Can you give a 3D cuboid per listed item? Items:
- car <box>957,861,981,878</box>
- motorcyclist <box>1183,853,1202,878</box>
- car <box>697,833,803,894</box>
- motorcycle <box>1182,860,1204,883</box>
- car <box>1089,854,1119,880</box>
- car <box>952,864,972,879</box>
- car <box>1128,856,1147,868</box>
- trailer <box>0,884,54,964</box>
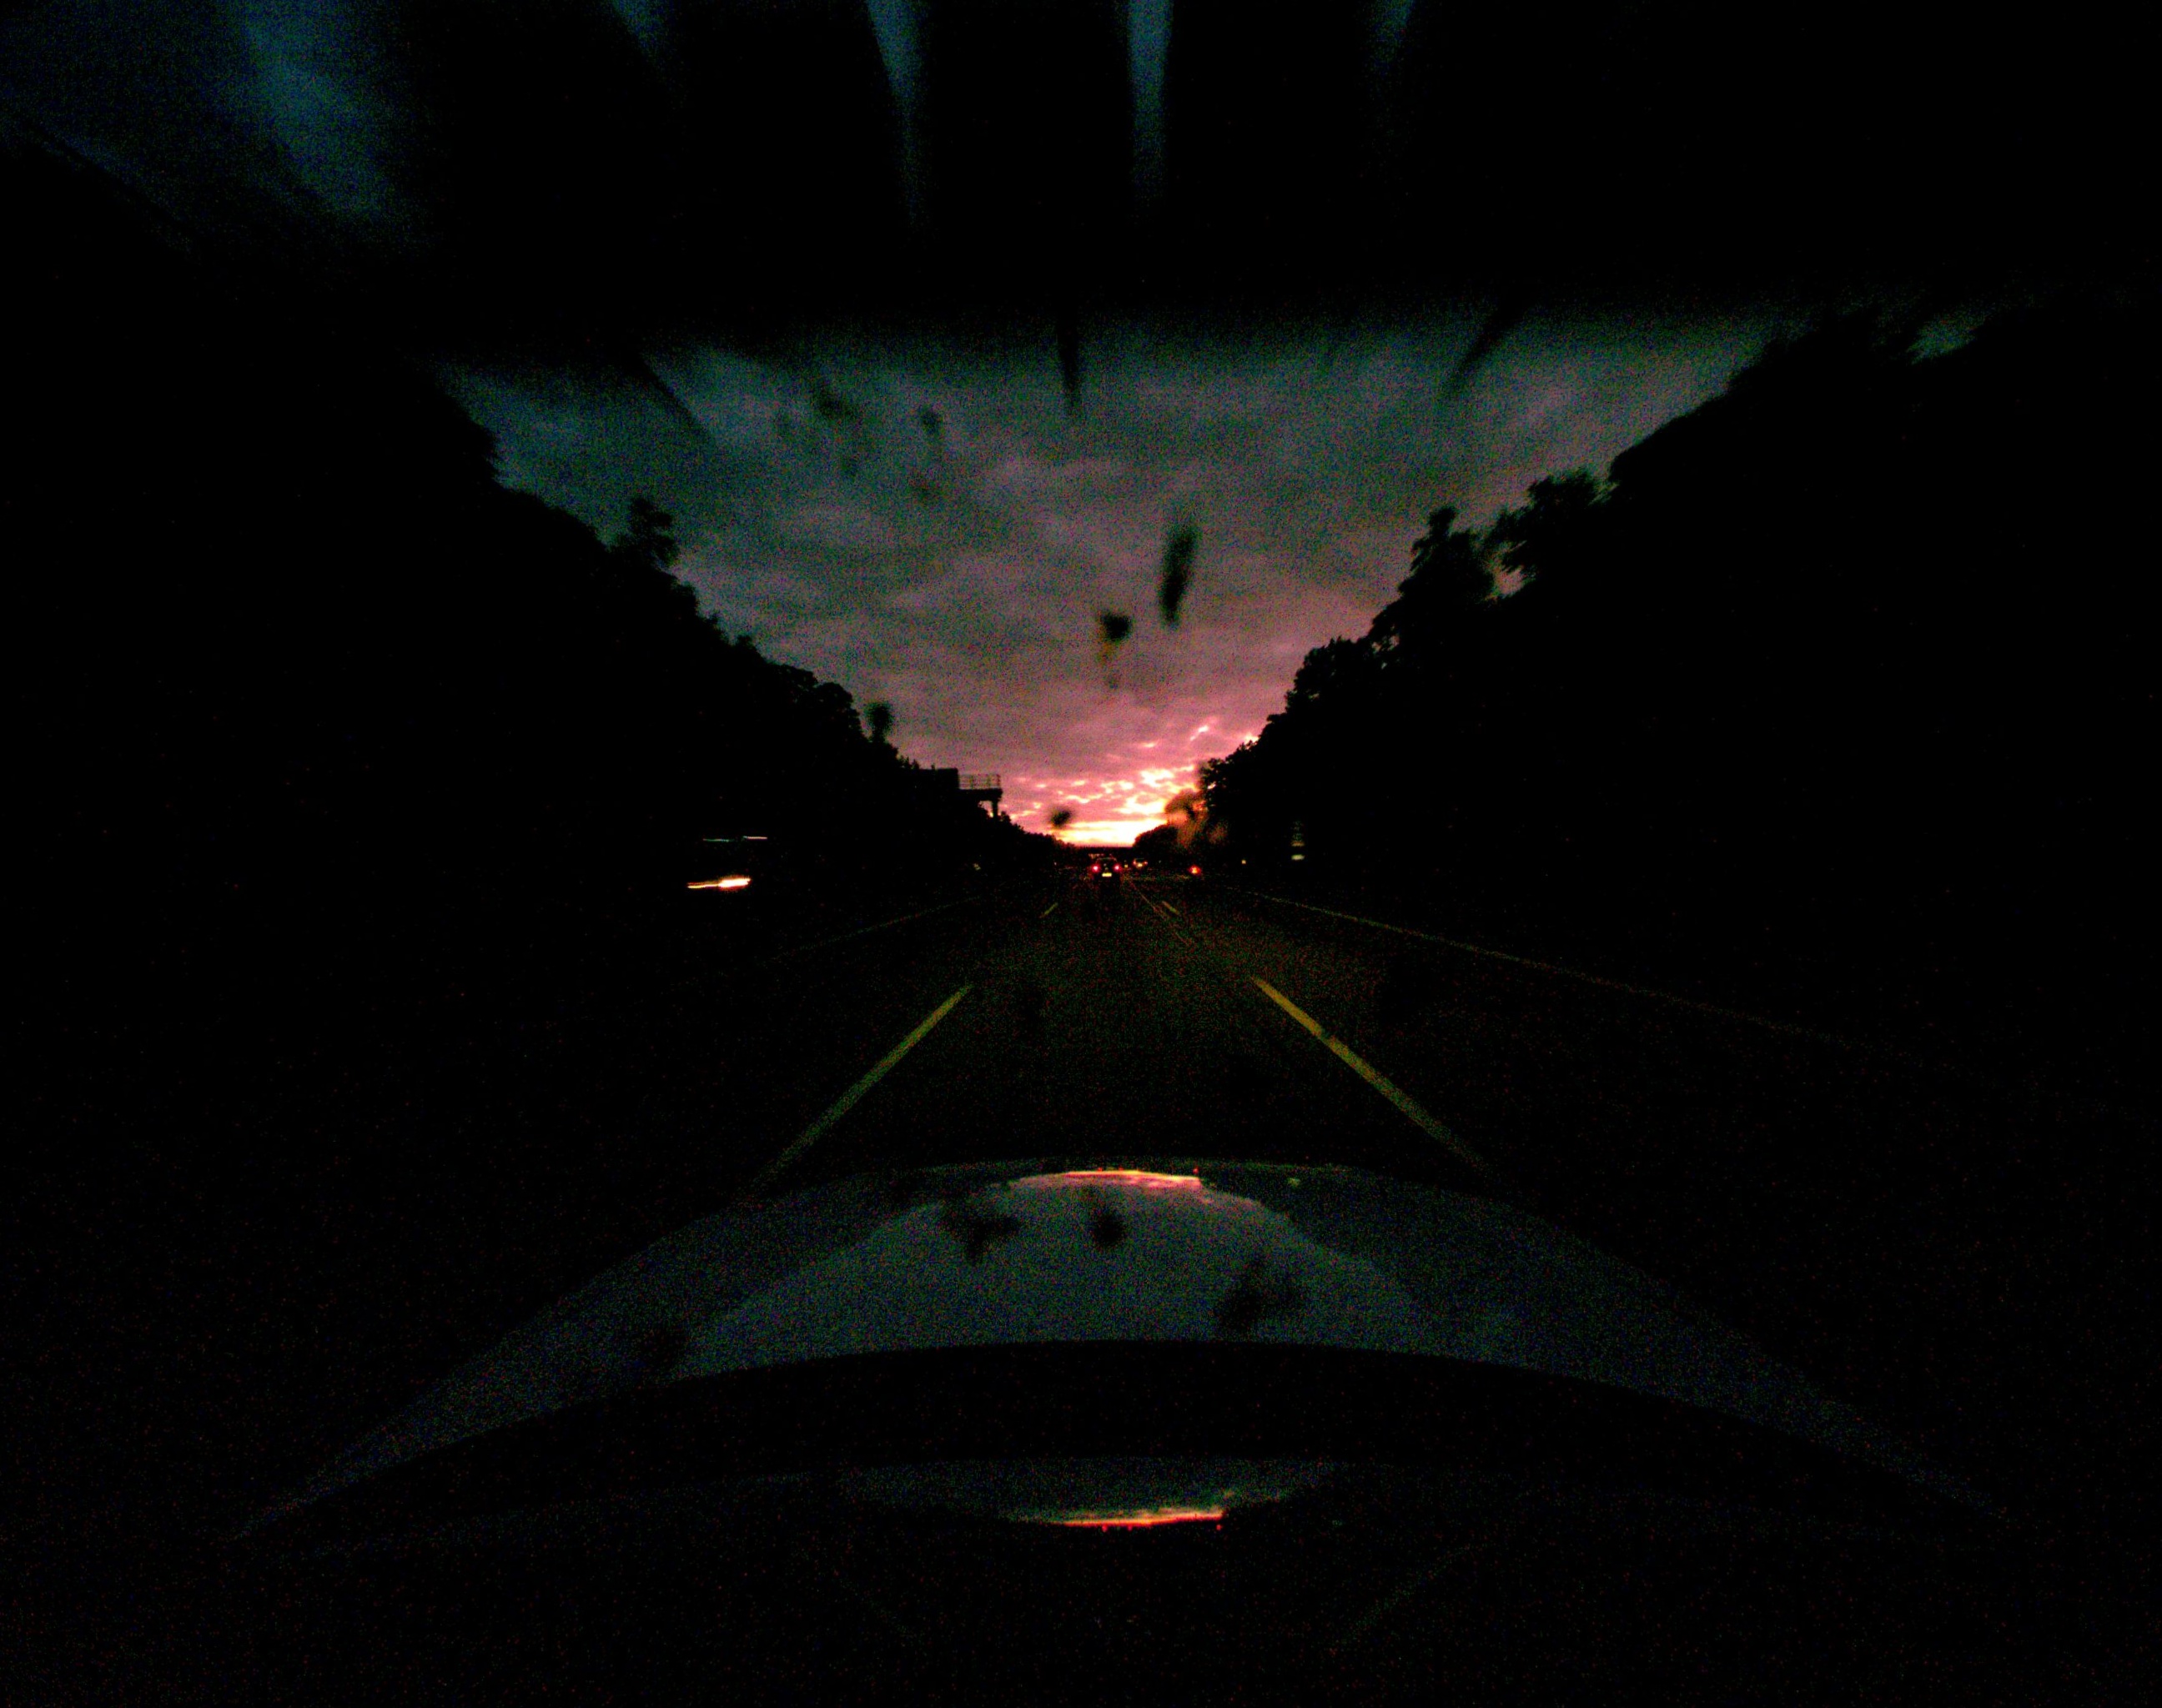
[{"bbox_3d":[-12.279,1.721,89.858,1.910,1.765,5.007,-2,0,0],"label":"car"},{"bbox_3d":[5.900,0.597,43.020,0.826,1.291,1.190,-1,0,2],"label":"motorcyclist"},{"bbox_3d":[-17.286,0.484,43.162,1.973,2.880,7.840,-2,0,3],"label":"car"},{"bbox_3d":[5.908,0.897,43.086,0.826,1.134,2.477,-2,0,2],"label":"motorcycle"},{"bbox_3d":[1.412,0.784,49.302,1.697,1.509,4.233,0,-1,2],"label":"car"},{"bbox_3d":[-15.486,2.250,106.456,1.911,1.765,5.006,-2,0,-1],"label":"car"},{"bbox_3d":[7.081,0.969,102.175,1.861,1.494,4.394,0,-1,-2],"label":"car"},{"bbox_3d":[-18.398,1.156,12.214,1.986,1.249,3.124,-1,0,2],"label":"trailer"}]
